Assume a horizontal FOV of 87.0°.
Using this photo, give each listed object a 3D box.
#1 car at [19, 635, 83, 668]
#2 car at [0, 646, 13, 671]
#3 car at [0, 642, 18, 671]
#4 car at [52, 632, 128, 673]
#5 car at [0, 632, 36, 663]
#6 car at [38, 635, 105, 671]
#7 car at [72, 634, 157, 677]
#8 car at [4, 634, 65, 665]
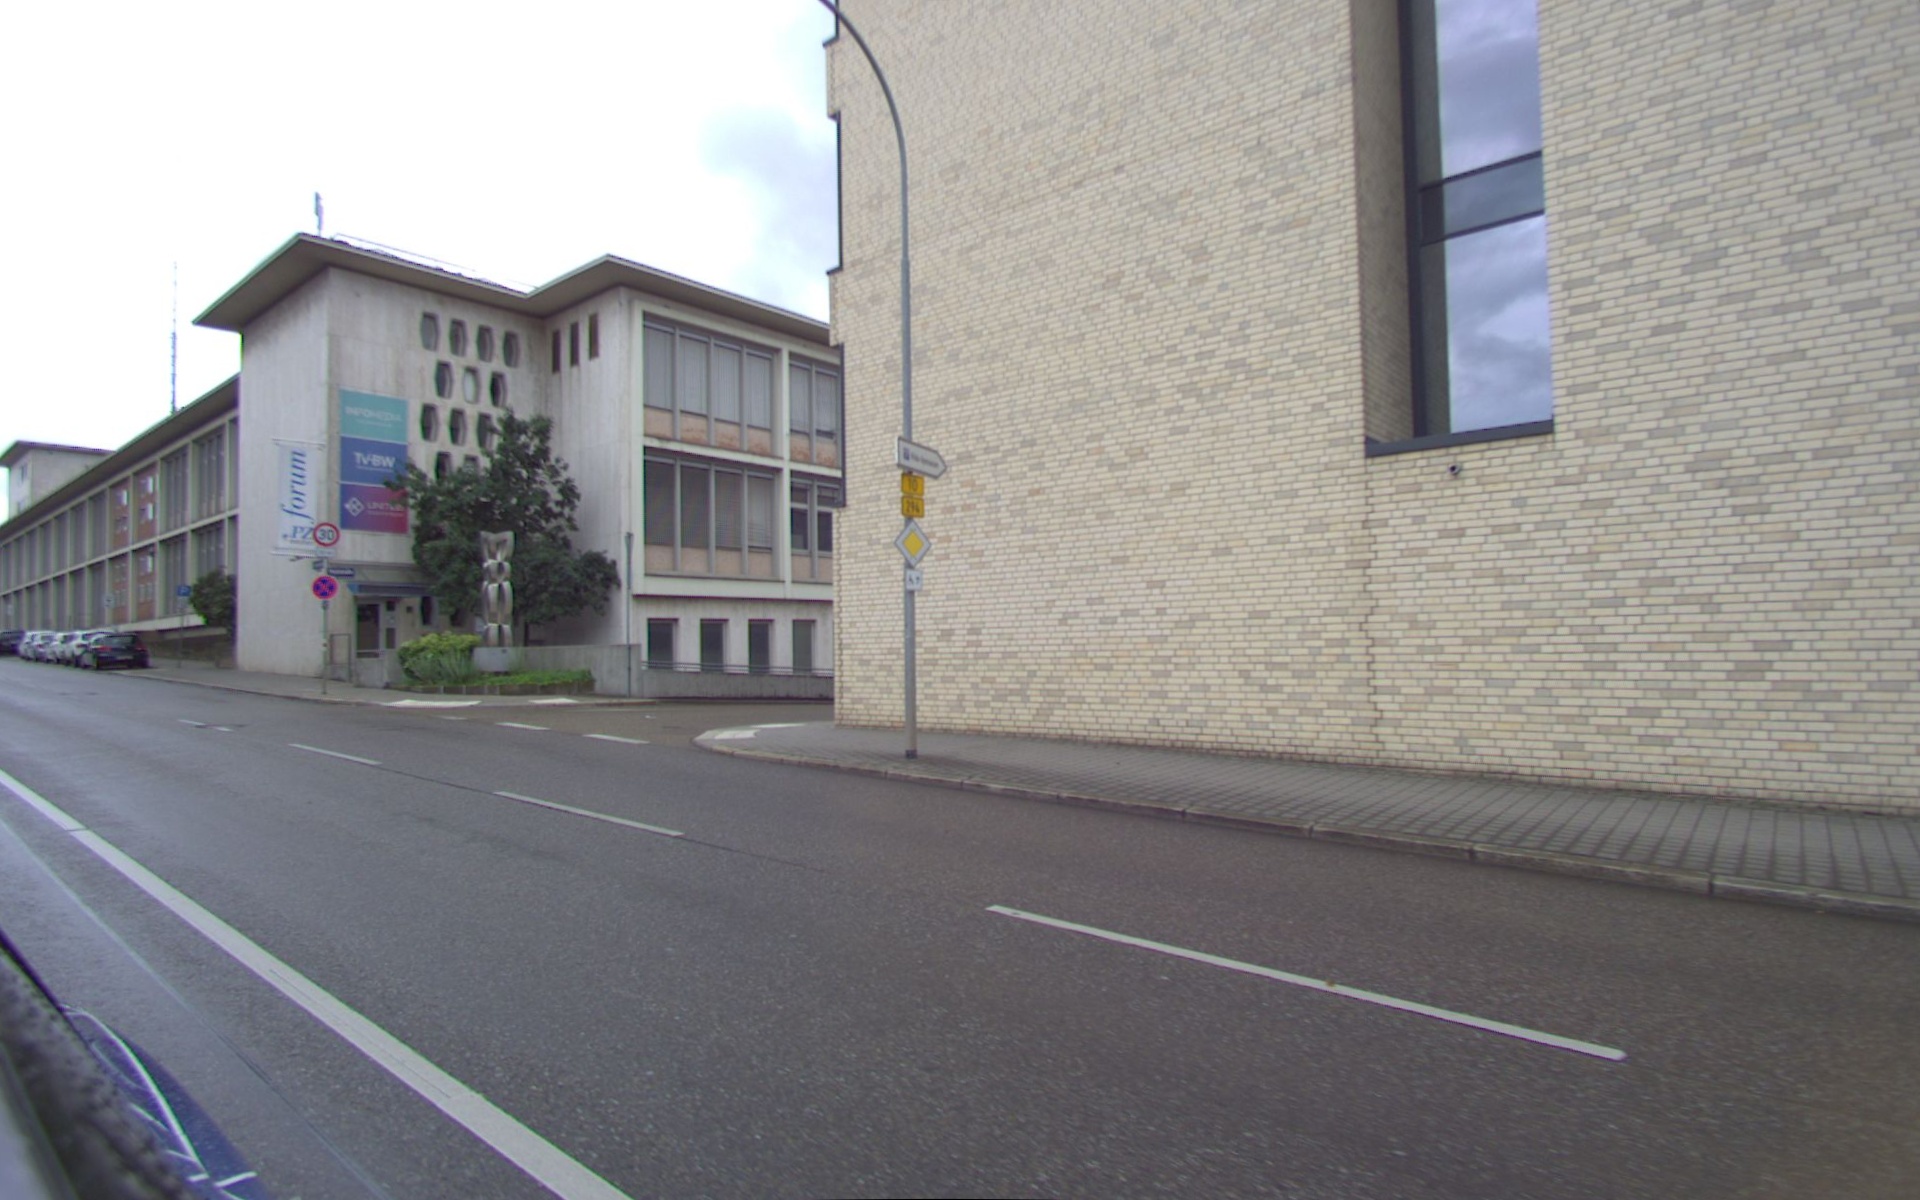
[{"bbox_3d":[-46.745,2.630,52.023,4.184,1.502,1.973,-1,0,41],"label":"car"},{"bbox_3d":[-67.175,4.066,70.059,3.997,1.590,1.973,-1,0,41],"label":"car"},{"bbox_3d":[-62.289,3.662,65.063,3.996,1.747,1.974,-1,0,39],"label":"car"},{"bbox_3d":[-38.820,2.297,45.125,3.998,1.654,1.973,-1,0,41],"label":"car"},{"bbox_3d":[-57.771,2.859,61.444,3.997,1.724,1.973,-1,0,40],"label":"car"},{"bbox_3d":[-42.661,2.499,48.552,3.999,1.523,1.972,-1,0,42],"label":"car"},{"bbox_3d":[-34.792,2.244,41.624,3.996,1.541,1.974,-1,0,39],"label":"car"},{"bbox_3d":[-51.354,2.710,56.131,3.997,1.541,1.974,-1,0,40],"label":"car"}]
